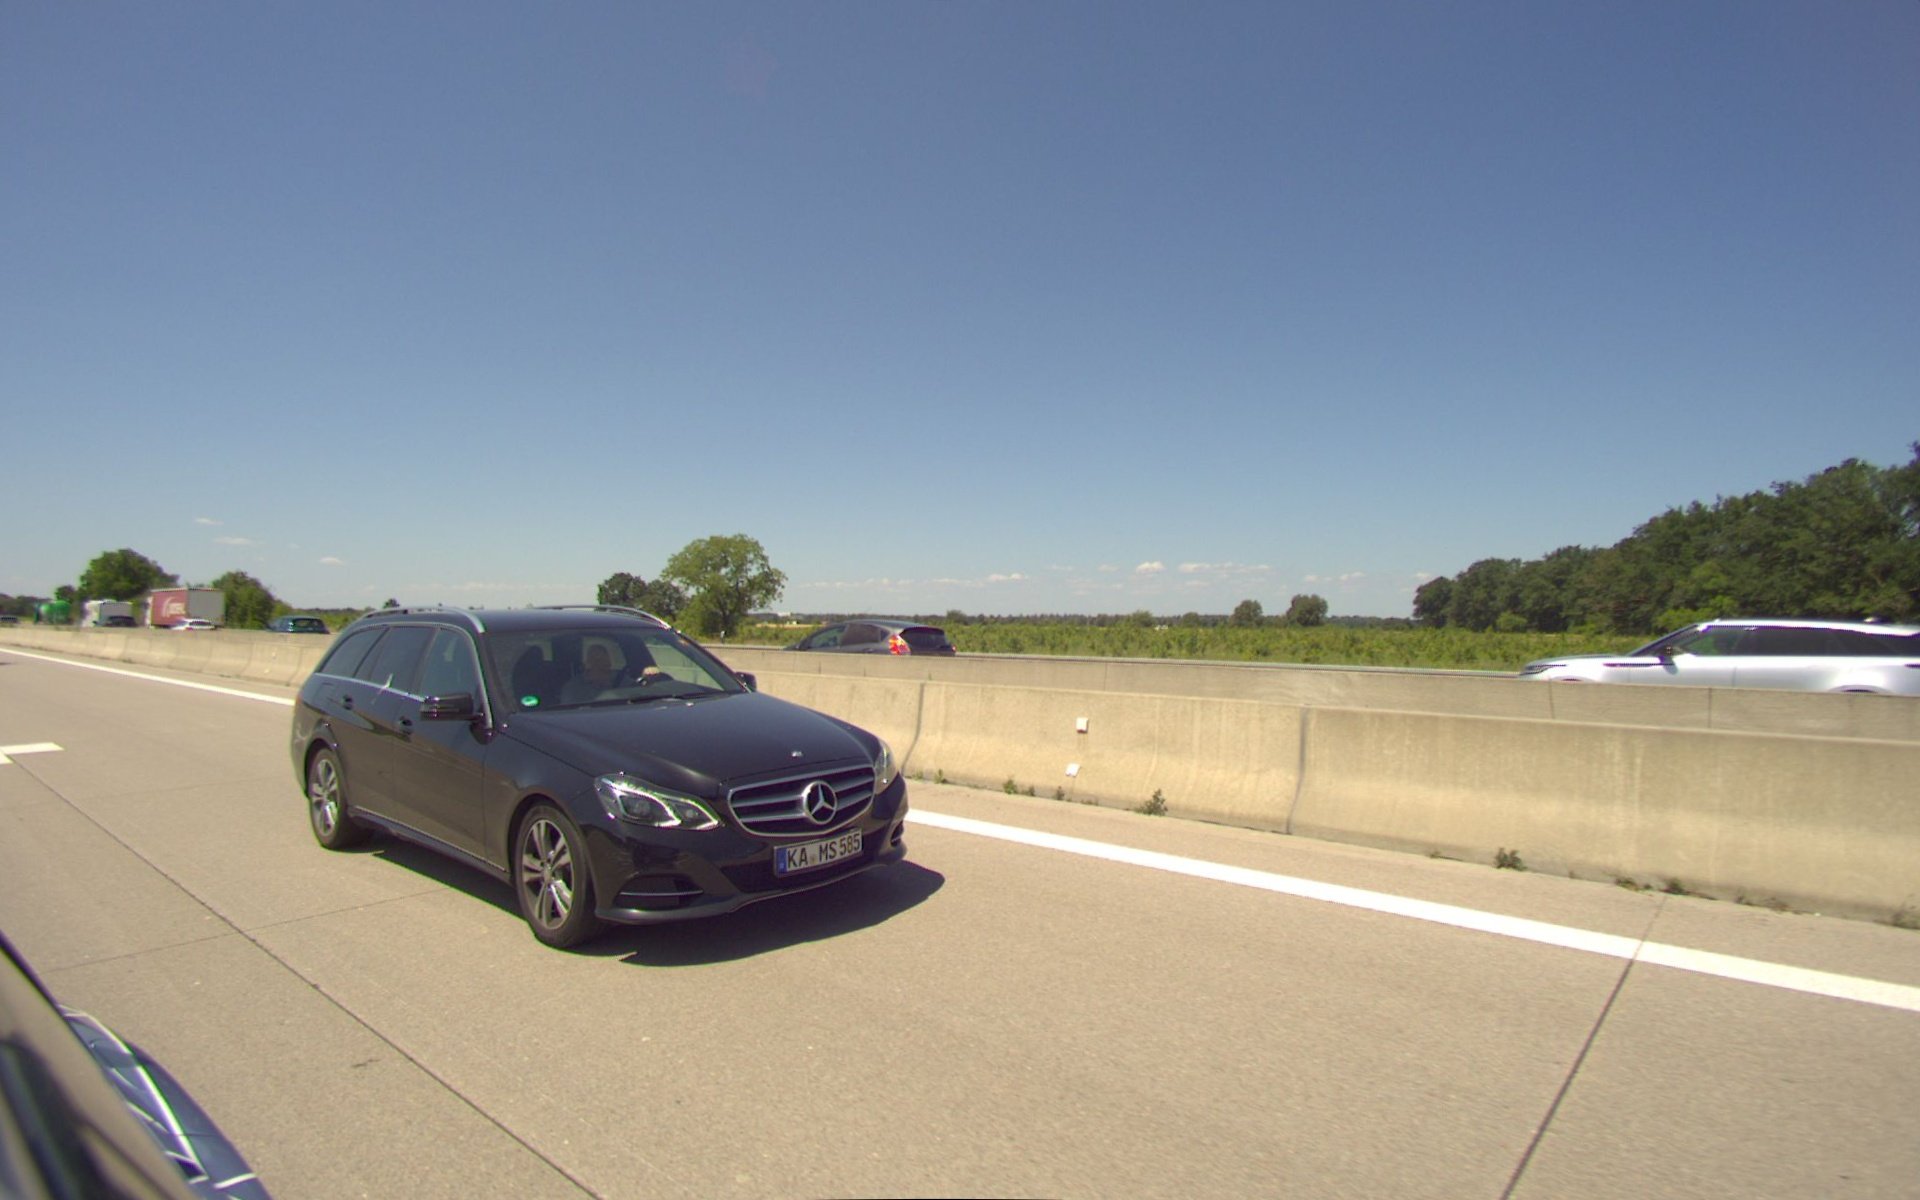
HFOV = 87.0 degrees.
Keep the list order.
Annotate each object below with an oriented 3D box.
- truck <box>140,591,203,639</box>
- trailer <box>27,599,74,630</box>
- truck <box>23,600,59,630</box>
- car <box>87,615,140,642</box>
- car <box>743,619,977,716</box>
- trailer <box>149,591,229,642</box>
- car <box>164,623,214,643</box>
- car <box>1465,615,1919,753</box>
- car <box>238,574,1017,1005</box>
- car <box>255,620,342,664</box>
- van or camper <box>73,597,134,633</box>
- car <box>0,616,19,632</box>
[{"bbox_3d":[-68.761,1.371,88.195,7.292,4.013,2.968,-1,-2,42],"label":"truck"},{"bbox_3d":[-118.296,1.923,131.549,11.092,3.907,2.708,-1,-2,39],"label":"trailer"},{"bbox_3d":[-122.817,1.981,135.237,6.198,3.912,2.717,-1,-2,40],"label":"truck"},{"bbox_3d":[-52.624,1.754,62.883,4.425,1.628,1.823,-1,-2,41],"label":"car"},{"bbox_3d":[-1.819,1.089,17.629,4.078,1.508,1.738,-1,-2,41],"label":"car"},{"bbox_3d":[-64.332,1.443,84.258,12.336,4.013,2.968,-1,-2,42],"label":"trailer"},{"bbox_3d":[-49.206,2.086,64.558,4.789,1.273,1.670,-1,-2,42],"label":"car"},{"bbox_3d":[10.017,0.965,12.861,6.132,1.508,2.044,-1,-2,41],"label":"car"},{"bbox_3d":[-2.431,0.711,6.067,5.601,1.484,1.871,-1,-2,41],"label":"car"},{"bbox_3d":[-24.952,1.545,38.109,4.337,1.556,1.670,-1,-2,42],"label":"car"},{"bbox_3d":[-71.812,1.319,84.768,7.930,2.912,2.500,-1,-2,40],"label":"van or camper"},{"bbox_3d":[-91.491,2.291,96.762,4.599,1.567,1.775,-1,-2,42],"label":"car"}]
